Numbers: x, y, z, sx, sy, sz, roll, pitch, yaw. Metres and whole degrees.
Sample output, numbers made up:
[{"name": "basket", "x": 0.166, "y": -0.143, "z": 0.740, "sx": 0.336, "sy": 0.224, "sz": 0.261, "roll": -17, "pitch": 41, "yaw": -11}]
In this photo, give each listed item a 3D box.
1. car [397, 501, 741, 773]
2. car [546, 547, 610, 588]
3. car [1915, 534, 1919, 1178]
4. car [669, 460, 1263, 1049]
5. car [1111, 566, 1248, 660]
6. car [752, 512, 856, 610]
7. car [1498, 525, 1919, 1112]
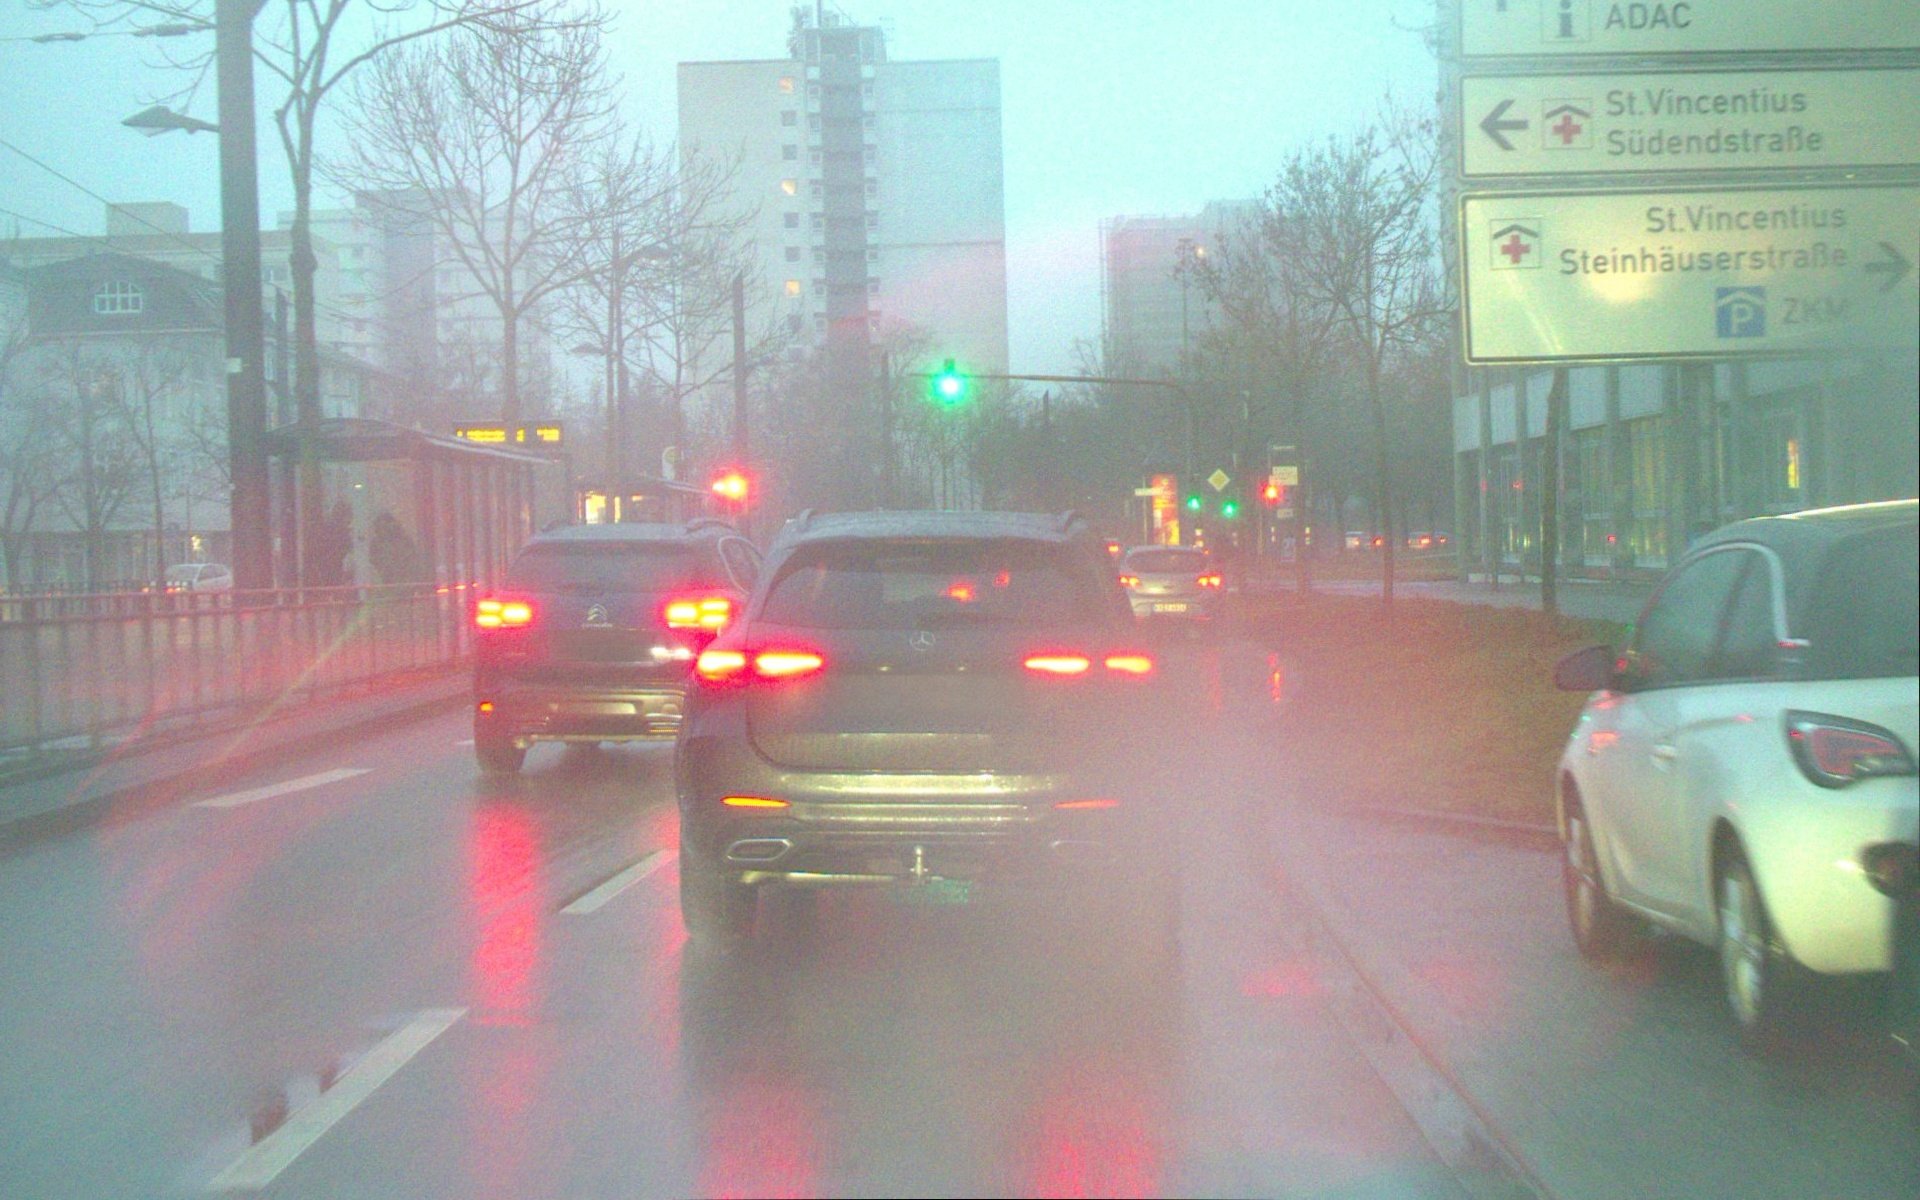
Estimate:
[{"name": "car", "x": -2.602, "y": 0.235, "z": 23.841, "sx": 1.993, "sy": 1.706, "sz": 4.325, "roll": 0, "pitch": 0, "yaw": -1}, {"name": "car", "x": -14.309, "y": -1.199, "z": 128.806, "sx": 1.759, "sy": 1.492, "sz": 3.758, "roll": 0, "pitch": 0, "yaw": 4}, {"name": "car", "x": 2.854, "y": 0.606, "z": 5.322, "sx": 1.754, "sy": 1.398, "sz": 4.250, "roll": 0, "pitch": 1, "yaw": 3}, {"name": "car", "x": -0.072, "y": 0.520, "z": 13.564, "sx": 1.993, "sy": 1.969, "sz": 4.068, "roll": 0, "pitch": 0, "yaw": -3}, {"name": "car", "x": 3.381, "y": 0.174, "z": 53.577, "sx": 1.887, "sy": 1.349, "sz": 4.102, "roll": 0, "pitch": 1, "yaw": 0}, {"name": "car", "x": -3.341, "y": -0.853, "z": 74.468, "sx": 1.952, "sy": 2.026, "sz": 4.883, "roll": 0, "pitch": 1, "yaw": 1}, {"name": "car", "x": 2.728, "y": 0.505, "z": 10.332, "sx": 1.591, "sy": 1.389, "sz": 3.487, "roll": -3, "pitch": 1, "yaw": 0}]
